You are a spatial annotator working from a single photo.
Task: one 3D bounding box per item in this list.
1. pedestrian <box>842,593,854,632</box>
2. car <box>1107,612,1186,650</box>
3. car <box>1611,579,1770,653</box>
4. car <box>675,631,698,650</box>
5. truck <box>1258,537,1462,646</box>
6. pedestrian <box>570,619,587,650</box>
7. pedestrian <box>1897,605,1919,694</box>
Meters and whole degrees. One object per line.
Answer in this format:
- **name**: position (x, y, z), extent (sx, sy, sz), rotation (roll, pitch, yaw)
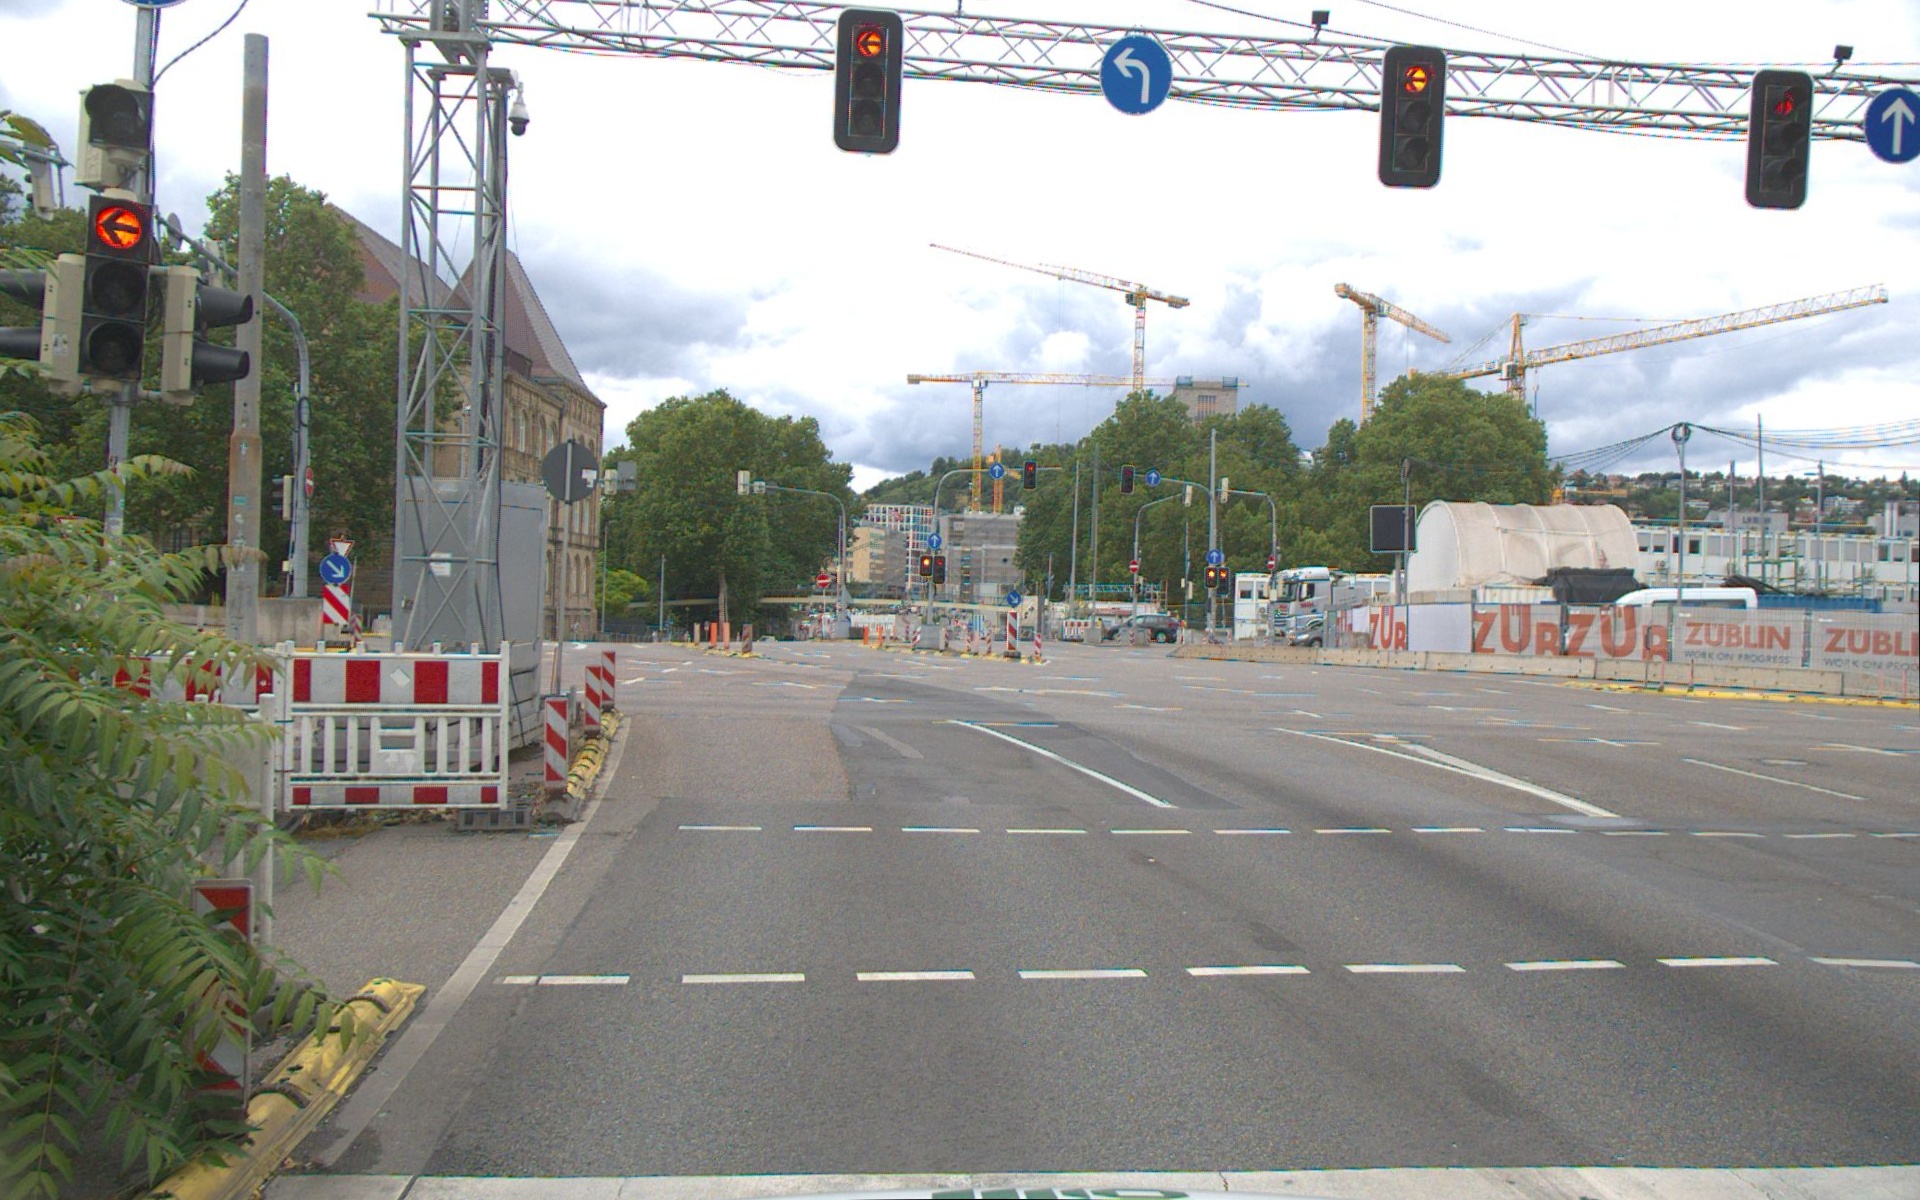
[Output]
- **pedestrian**: position (-5.469, 0.602, 80.807), extent (0.574, 1.872, 0.604), rotation (1, -1, -4)
- **car**: position (10.342, 1.704, 91.638), extent (3.910, 2.049, 1.998), rotation (1, 0, 27)
- **car**: position (21.052, 0.452, 47.817), extent (3.902, 2.049, 2.001), rotation (1, 0, 15)
- **car**: position (-28.471, 4.187, 172.171), extent (1.954, 1.870, 3.997), rotation (1, 0, -3)
- **truck**: position (19.652, -0.356, 81.289), extent (9.565, 5.047, 3.097), rotation (1, -1, -19)
- **pedestrian**: position (-26.253, 2.375, 113.700), extent (0.930, 2.049, 0.766), rotation (1, -1, 1)
- **pedestrian**: position (22.498, 1.148, 38.265), extent (1.023, 2.049, 1.033), rotation (1, -1, -6)
